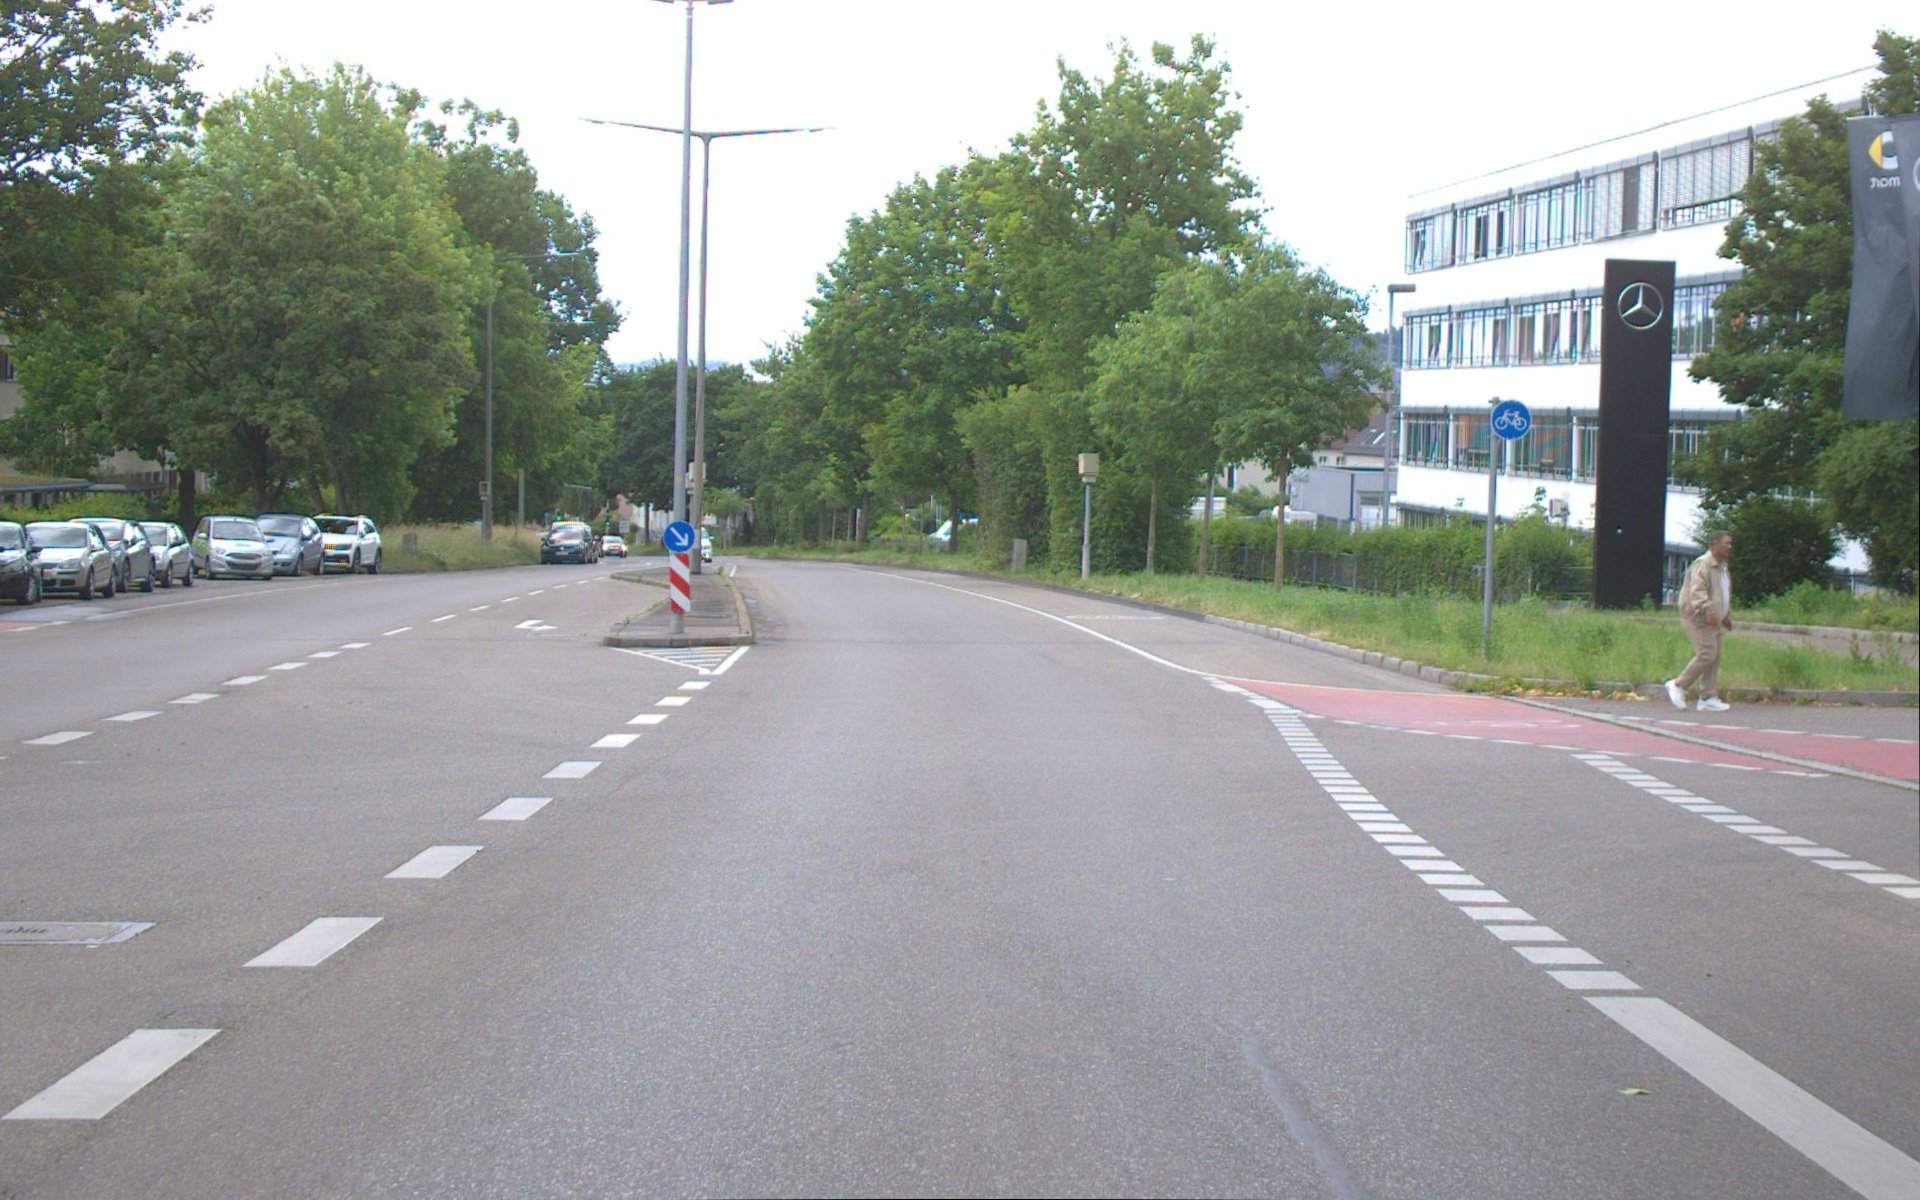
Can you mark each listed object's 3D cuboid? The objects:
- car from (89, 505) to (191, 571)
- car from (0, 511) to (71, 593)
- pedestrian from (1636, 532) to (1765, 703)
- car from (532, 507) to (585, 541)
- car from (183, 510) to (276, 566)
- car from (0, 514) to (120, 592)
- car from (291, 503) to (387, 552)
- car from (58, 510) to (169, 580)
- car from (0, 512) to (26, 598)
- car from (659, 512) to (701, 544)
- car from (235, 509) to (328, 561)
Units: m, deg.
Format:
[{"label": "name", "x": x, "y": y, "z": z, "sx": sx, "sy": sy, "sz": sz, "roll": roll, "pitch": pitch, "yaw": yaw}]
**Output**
[{"label": "car", "x": -18.473, "y": -1.418, "z": 77.596, "sx": 1.672, "sy": 1.398, "sz": 4.001, "roll": 1, "pitch": 1, "yaw": -5}, {"label": "car", "x": -17.157, "y": -0.888, "z": 61.751, "sx": 1.672, "sy": 1.398, "sz": 4.001, "roll": 1, "pitch": 1, "yaw": -5}, {"label": "pedestrian", "x": 6.449, "y": 0.144, "z": 29.958, "sx": 0.788, "sy": 1.458, "sz": 0.749, "roll": 0, "pitch": 2, "yaw": -21}, {"label": "car", "x": -15.832, "y": -3.001, "z": 135.716, "sx": 1.771, "sy": 1.300, "sz": 4.001, "roll": 1, "pitch": 1, "yaw": -2}, {"label": "car", "x": -18.441, "y": -1.582, "z": 86.672, "sx": 1.672, "sy": 1.300, "sz": 4.001, "roll": 1, "pitch": 2, "yaw": -21}, {"label": "car", "x": -17.308, "y": -0.922, "z": 66.011, "sx": 1.672, "sy": 1.398, "sz": 4.001, "roll": 1, "pitch": 1, "yaw": -5}, {"label": "car", "x": -17.437, "y": -2.036, "z": 96.670, "sx": 1.673, "sy": 1.300, "sz": 4.000, "roll": 2, "pitch": 1, "yaw": 4}, {"label": "car", "x": -17.779, "y": -1.179, "z": 72.330, "sx": 1.672, "sy": 1.398, "sz": 4.001, "roll": 1, "pitch": 1, "yaw": -5}, {"label": "car", "x": -16.697, "y": -0.764, "z": 56.968, "sx": 1.672, "sy": 1.398, "sz": 4.001, "roll": 1, "pitch": 1, "yaw": -5}, {"label": "car", "x": -12.017, "y": -3.102, "z": 147.916, "sx": 1.611, "sy": 1.300, "sz": 4.001, "roll": 1, "pitch": 1, "yaw": -2}, {"label": "car", "x": -18.088, "y": -1.749, "z": 91.806, "sx": 1.672, "sy": 1.300, "sz": 4.000, "roll": 1, "pitch": 1, "yaw": 0}]
